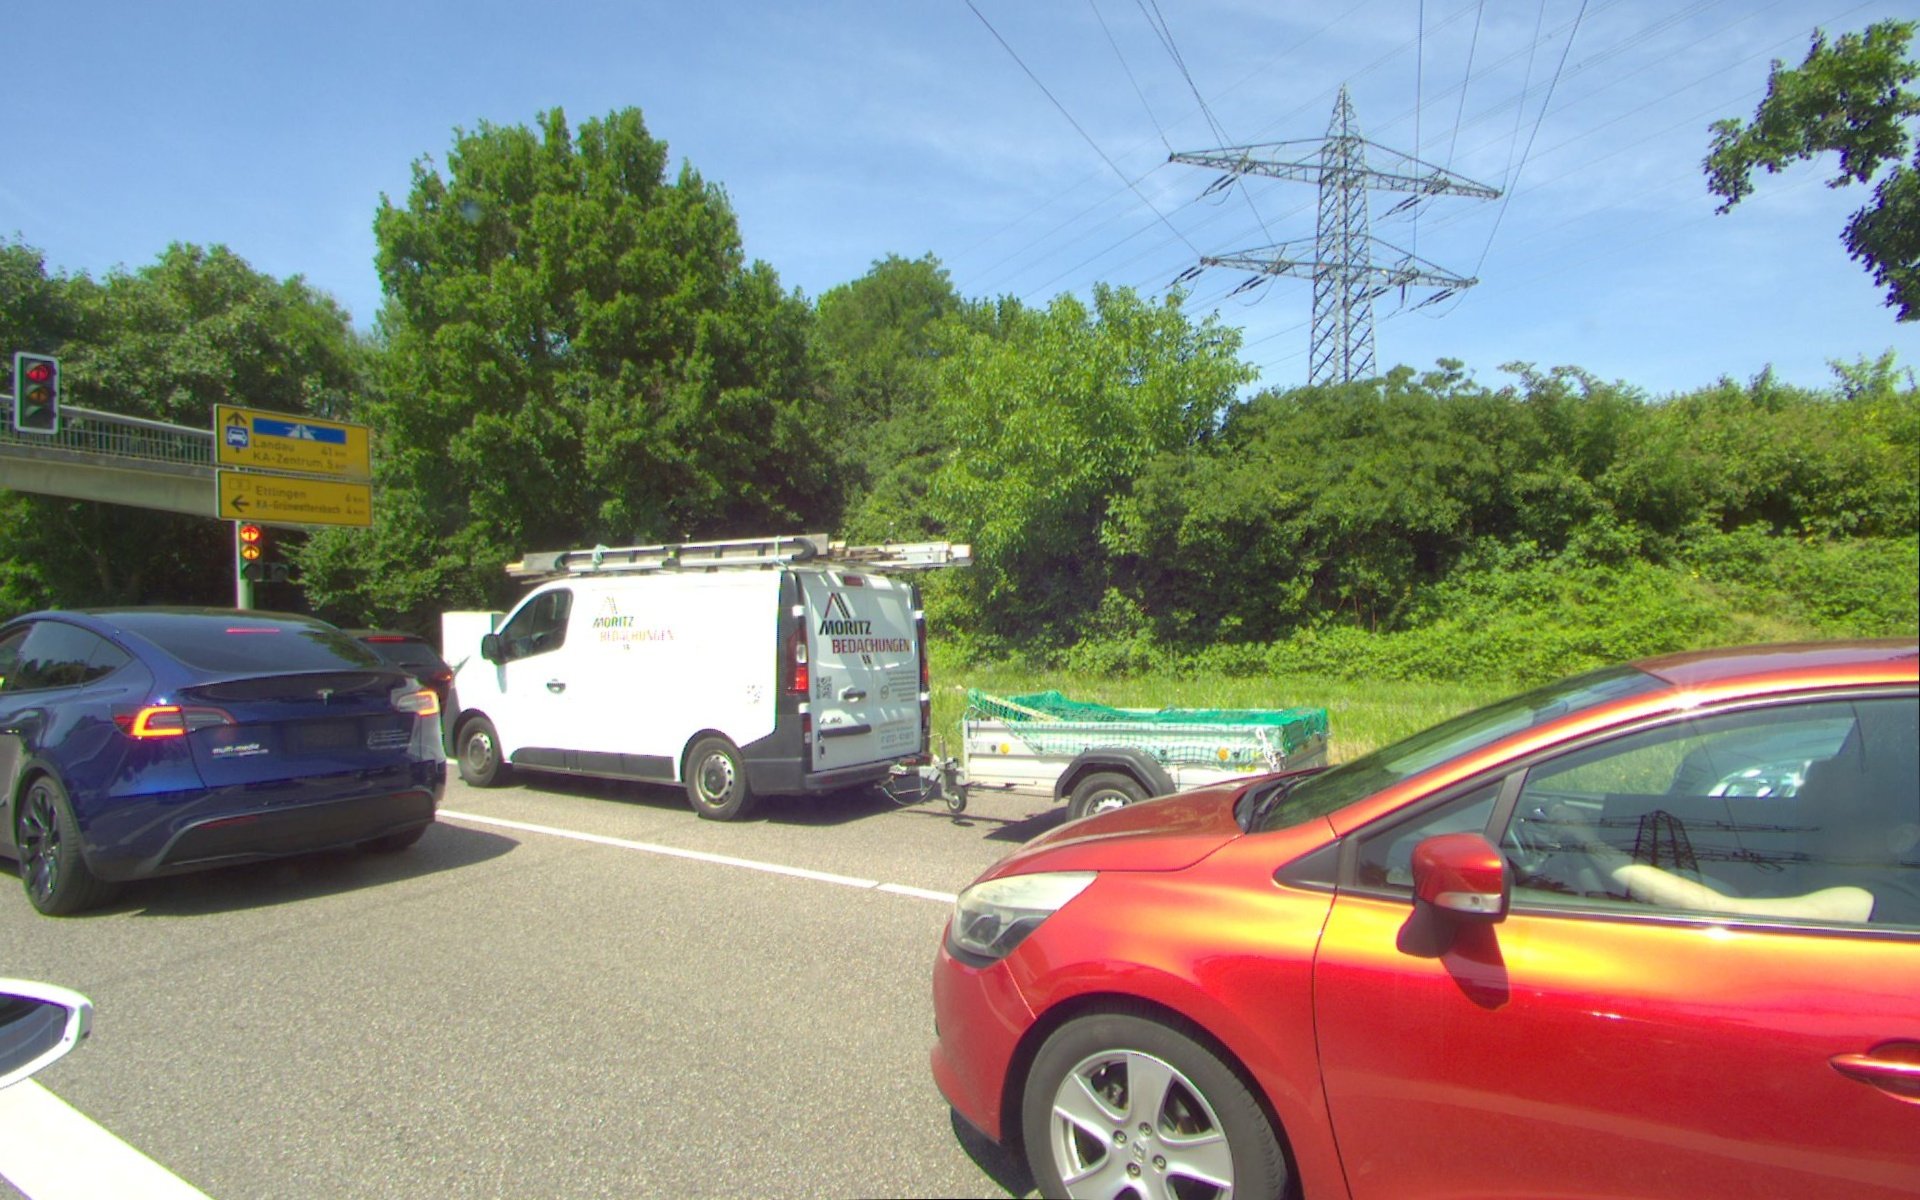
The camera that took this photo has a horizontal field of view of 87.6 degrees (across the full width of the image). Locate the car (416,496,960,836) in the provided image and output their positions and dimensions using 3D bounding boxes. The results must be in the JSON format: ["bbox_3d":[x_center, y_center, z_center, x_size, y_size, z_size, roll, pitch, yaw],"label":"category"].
[{"bbox_3d":[-2.621,0.518,9.164,5.002,2.379,1.929,-1,-1,32],"label":"car"}]

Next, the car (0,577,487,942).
[{"bbox_3d":[-5.313,0.777,6.586,4.455,1.665,1.897,-1,-1,32],"label":"car"}]

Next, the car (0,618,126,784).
[{"bbox_3d":[-10.340,0.936,10.078,3.882,1.497,1.897,-1,-2,32],"label":"car"}]

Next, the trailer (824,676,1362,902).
[{"bbox_3d":[0.877,1.119,6.883,3.276,1.019,1.703,-1,-1,32],"label":"trailer"}]

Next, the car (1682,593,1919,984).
[{"bbox_3d":[5.591,0.770,4.141,4.105,1.616,1.761,-1,0,32],"label":"car"}]

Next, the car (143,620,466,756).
[{"bbox_3d":[-8.571,1.023,13.006,4.318,1.497,1.897,-1,-2,32],"label":"car"}]

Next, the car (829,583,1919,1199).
[{"bbox_3d":[1.819,0.739,2.270,4.006,1.480,1.740,-1,-1,31],"label":"car"}]
